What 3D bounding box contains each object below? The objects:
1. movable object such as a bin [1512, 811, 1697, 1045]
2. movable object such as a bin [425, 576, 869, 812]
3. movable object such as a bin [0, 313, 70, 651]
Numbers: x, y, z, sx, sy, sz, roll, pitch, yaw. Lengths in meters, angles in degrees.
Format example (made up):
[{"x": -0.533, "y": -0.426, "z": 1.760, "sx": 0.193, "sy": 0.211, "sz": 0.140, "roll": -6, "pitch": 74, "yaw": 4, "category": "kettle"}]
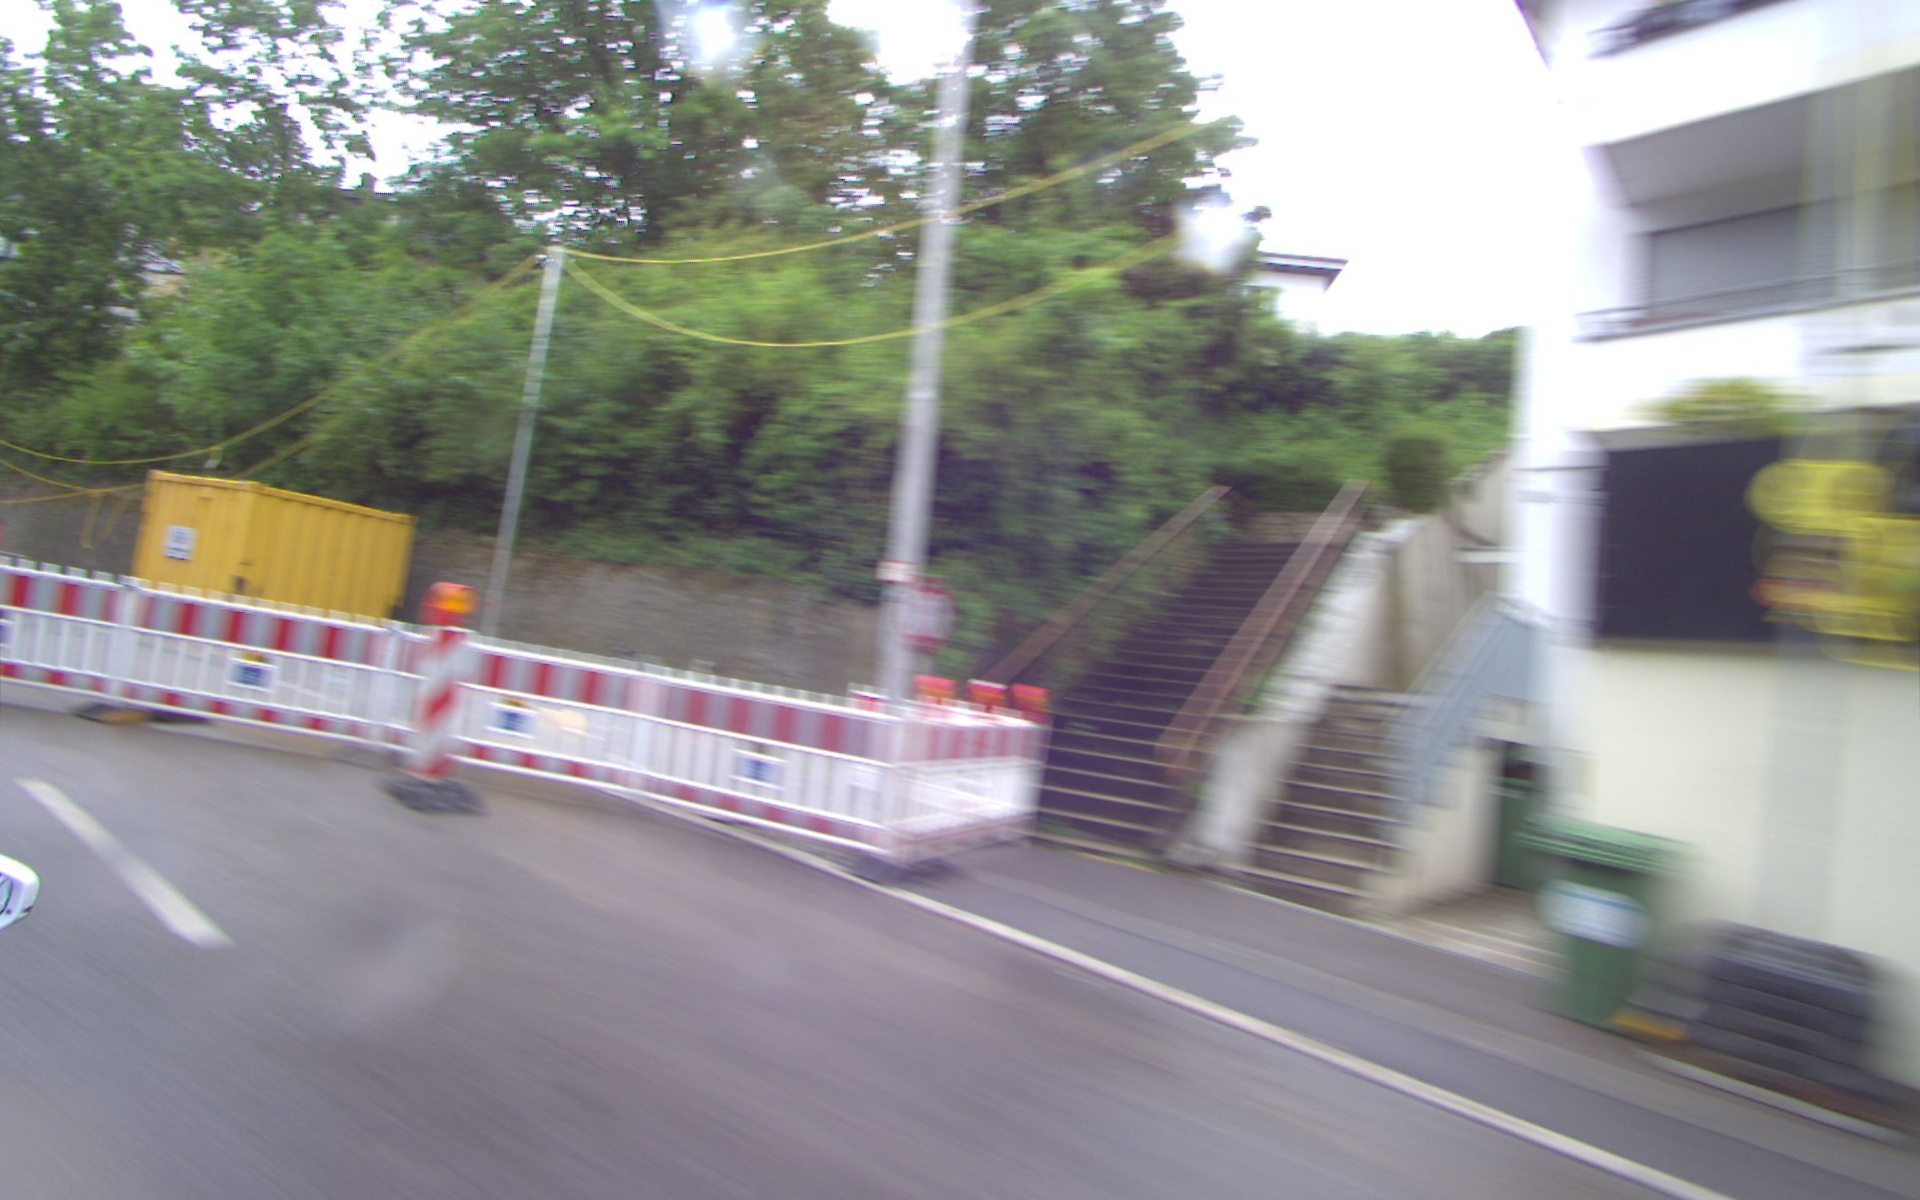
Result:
[{"x": 3.526, "y": 1.739, "z": 5.501, "sx": 0.717, "sy": 1.044, "sz": 0.585, "roll": 9, "pitch": -2, "yaw": -40, "category": "movable object such as a bin"}, {"x": -3.150, "y": 0.859, "z": 9.971, "sx": 3.935, "sy": 1.536, "sz": 1.998, "roll": 7, "pitch": -3, "yaw": 33, "category": "movable object such as a bin"}, {"x": -15.263, "y": -1.913, "z": 13.321, "sx": 7.205, "sy": 4.059, "sz": 2.826, "roll": 7, "pitch": -2, "yaw": 32, "category": "movable object such as a bin"}]
